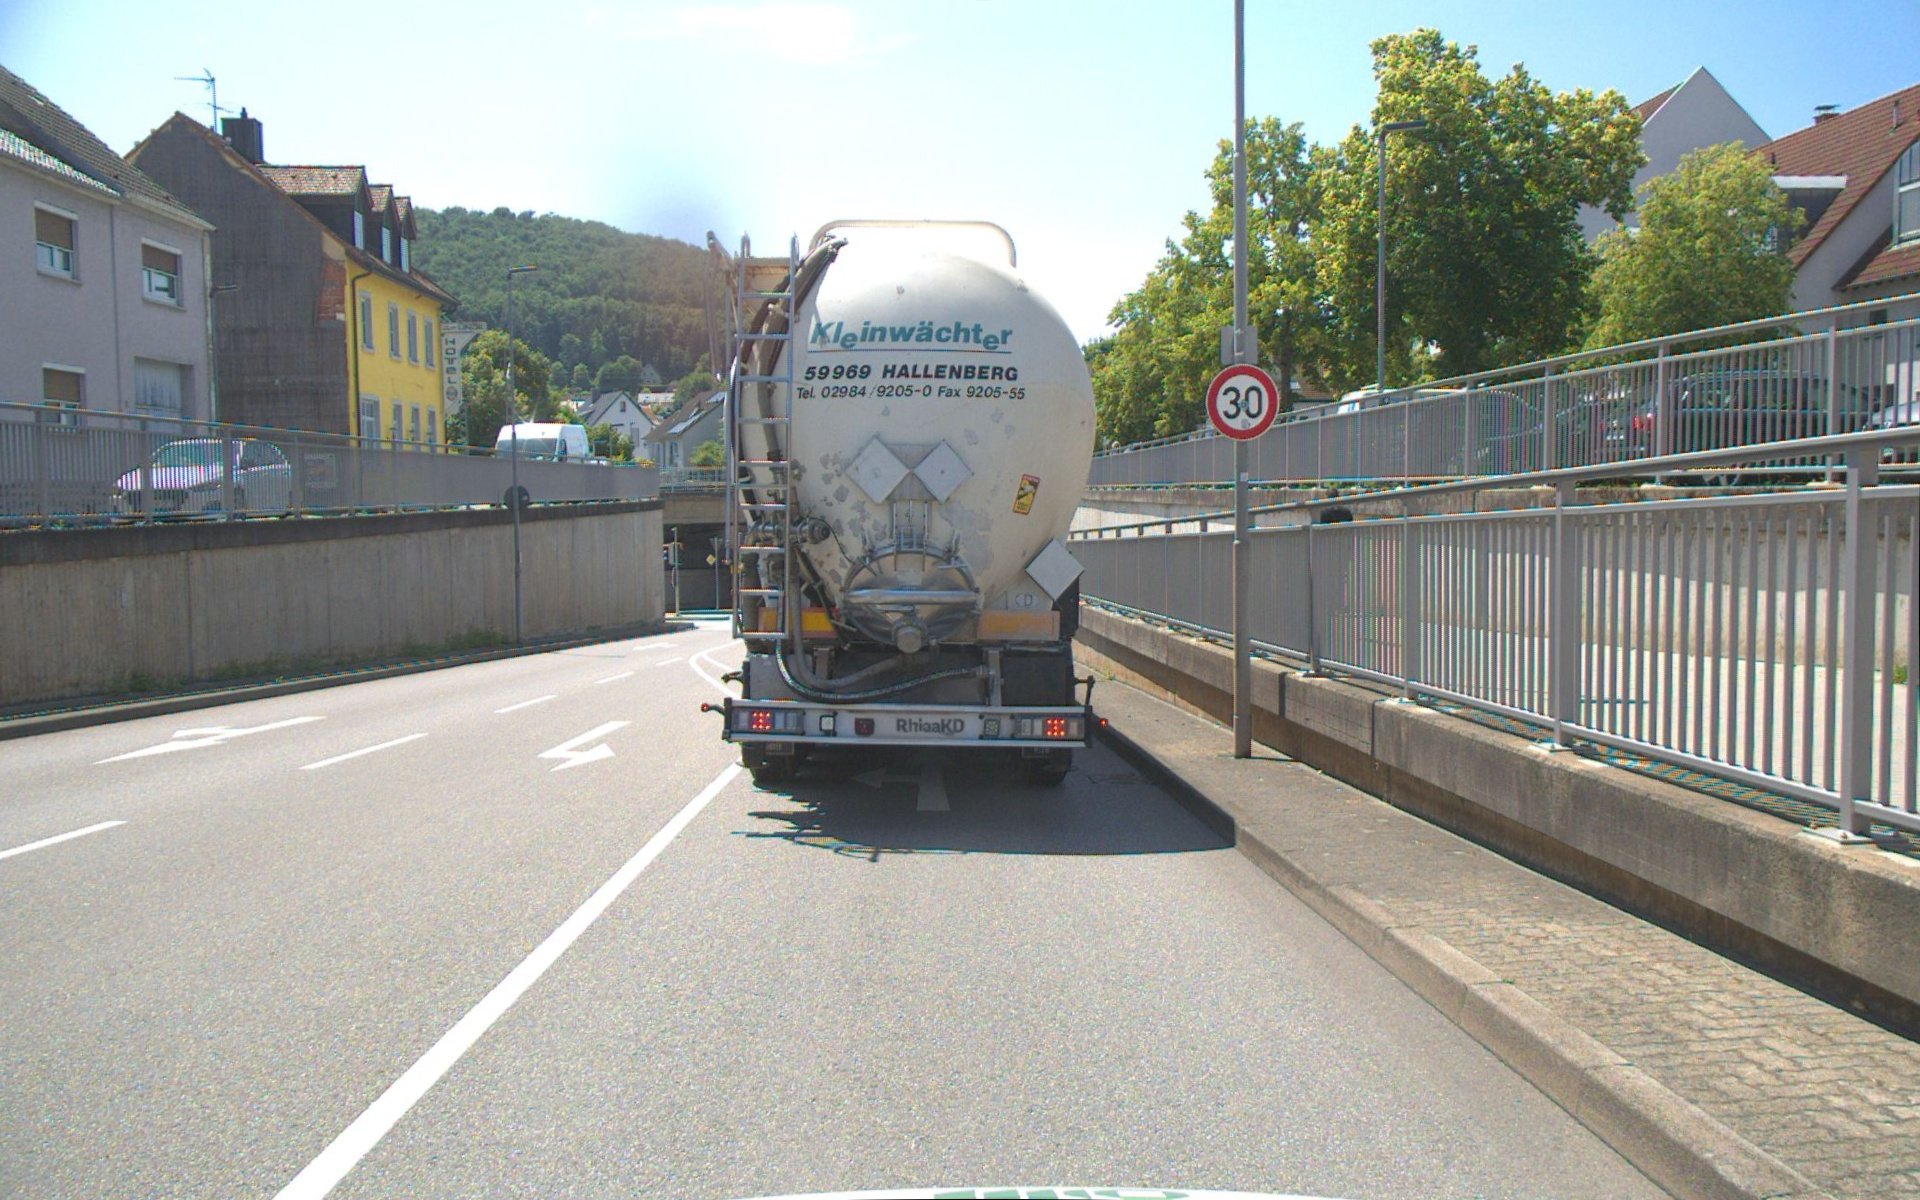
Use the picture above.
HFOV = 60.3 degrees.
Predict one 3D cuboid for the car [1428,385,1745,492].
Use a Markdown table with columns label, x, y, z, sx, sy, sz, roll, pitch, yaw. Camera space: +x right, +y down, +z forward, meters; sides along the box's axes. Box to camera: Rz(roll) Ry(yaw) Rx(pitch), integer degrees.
| label | x | y | z | sx | sy | sz | roll | pitch | yaw |
| --- | --- | --- | --- | --- | --- | --- | --- | --- | --- |
| car | 9.516 | -2.447 | 25.344 | 4.198 | 1.524 | 1.749 | -1 | 3 | -1 |

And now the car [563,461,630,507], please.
| label | x | y | z | sx | sy | sz | roll | pitch | yaw |
| --- | --- | --- | --- | --- | --- | --- | --- | --- | --- |
| car | -12.653 | -4.033 | 57.751 | 1.586 | 1.526 | 4.044 | 1 | 3 | -3 |

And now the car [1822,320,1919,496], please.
| label | x | y | z | sx | sy | sz | roll | pitch | yaw |
| --- | --- | --- | --- | --- | --- | --- | --- | --- | --- |
| car | 10.293 | -1.740 | 15.134 | 3.906 | 1.524 | 1.749 | -1 | 3 | -1 |

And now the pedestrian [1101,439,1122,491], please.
| label | x | y | z | sx | sy | sz | roll | pitch | yaw |
| --- | --- | --- | --- | --- | --- | --- | --- | --- | --- |
| pedestrian | 5.440 | -4.847 | 59.418 | 0.659 | 1.810 | 0.594 | -1 | 3 | 0 |

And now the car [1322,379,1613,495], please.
| label | x | y | z | sx | sy | sz | roll | pitch | yaw |
| --- | --- | --- | --- | --- | --- | --- | --- | --- | --- |
| car | 9.702 | -3.102 | 31.912 | 5.008 | 2.099 | 1.989 | -1 | 3 | -1 |

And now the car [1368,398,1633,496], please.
| label | x | y | z | sx | sy | sz | roll | pitch | yaw |
| --- | --- | --- | --- | --- | --- | --- | --- | --- | --- |
| car | 9.434 | -2.670 | 29.077 | 4.119 | 1.623 | 1.686 | -1 | 3 | -1 |

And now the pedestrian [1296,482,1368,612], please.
| label | x | y | z | sx | sy | sz | roll | pitch | yaw |
| --- | --- | --- | --- | --- | --- | --- | --- | --- | --- |
| pedestrian | 5.284 | -0.748 | 23.503 | 0.819 | 1.813 | 0.788 | -1 | 1 | -2 |

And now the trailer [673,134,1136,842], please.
| label | x | y | z | sx | sy | sz | roll | pitch | yaw |
| --- | --- | --- | --- | --- | --- | --- | --- | --- | --- |
| trailer | -0.410 | -0.698 | 16.406 | 2.679 | 4.135 | 13.310 | 1 | 0 | -1 |

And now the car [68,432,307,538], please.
| label | x | y | z | sx | sy | sz | roll | pitch | yaw |
| --- | --- | --- | --- | --- | --- | --- | --- | --- | --- |
| car | -11.923 | -1.793 | 25.858 | 1.776 | 1.487 | 4.310 | 1 | 4 | -1 |

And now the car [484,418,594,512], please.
| label | x | y | z | sx | sy | sz | roll | pitch | yaw |
| --- | --- | --- | --- | --- | --- | --- | --- | --- | --- |
| car | -12.341 | -3.935 | 48.864 | 2.024 | 2.580 | 5.661 | 1 | 3 | -2 |

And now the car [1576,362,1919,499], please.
| label | x | y | z | sx | sy | sz | roll | pitch | yaw |
| --- | --- | --- | --- | --- | --- | --- | --- | --- | --- |
| car | 9.727 | -1.991 | 19.739 | 4.119 | 1.524 | 1.686 | -1 | 3 | -1 |

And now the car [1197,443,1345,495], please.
| label | x | y | z | sx | sy | sz | roll | pitch | yaw |
| --- | --- | --- | --- | --- | --- | --- | --- | --- | --- |
| car | 8.663 | -3.651 | 46.310 | 3.826 | 1.391 | 1.686 | -1 | 3 | -1 |
